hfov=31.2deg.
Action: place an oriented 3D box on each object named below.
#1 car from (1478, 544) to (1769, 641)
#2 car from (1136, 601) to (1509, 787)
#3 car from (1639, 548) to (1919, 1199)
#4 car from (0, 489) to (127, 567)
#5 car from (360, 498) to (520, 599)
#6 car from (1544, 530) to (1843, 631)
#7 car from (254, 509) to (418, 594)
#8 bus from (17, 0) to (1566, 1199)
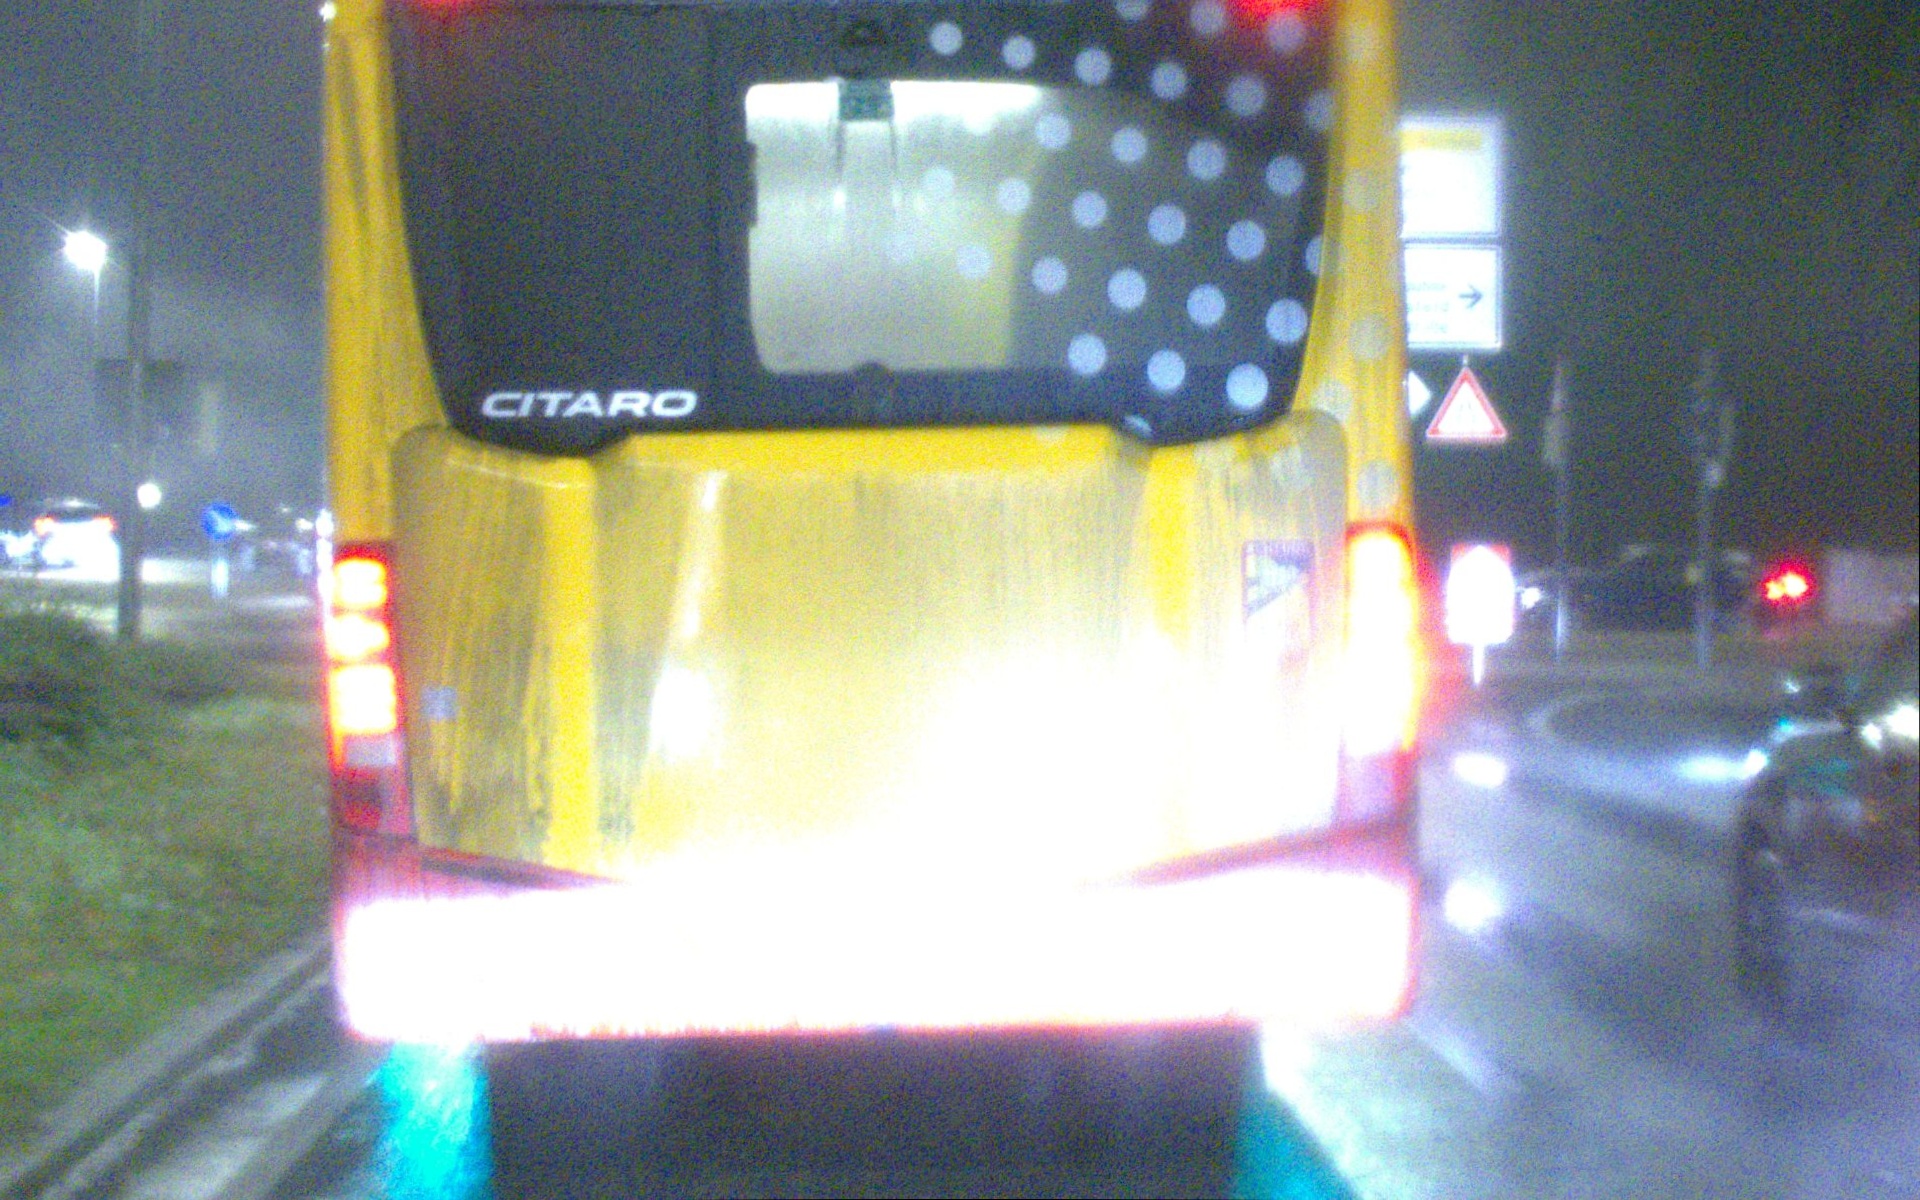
[{"bbox_3d":[10.230,-0.130,53.187,4.041,1.341,1.747,1,2,-6],"label":"car"},{"bbox_3d":[2.770,0.686,27.155,1.685,1.326,3.961,0,0,-14],"label":"car"},{"bbox_3d":[3.044,0.652,8.865,1.677,1.516,3.960,1,0,-1],"label":"car"},{"bbox_3d":[-20.220,-1.588,76.693,2.089,1.638,3.730,1,0,-32],"label":"car"},{"bbox_3d":[-8.822,-0.860,58.103,1.815,1.612,4.001,1,0,-21],"label":"car"},{"bbox_3d":[12.223,-0.335,57.414,4.482,1.513,1.857,1,2,-6],"label":"car"},{"bbox_3d":[-12.613,-0.978,69.353,1.816,1.612,4.000,1,0,-33],"label":"car"},{"bbox_3d":[-0.679,-0.328,12.085,3.284,3.039,9.546,0,2,-4],"label":"bus"}]
